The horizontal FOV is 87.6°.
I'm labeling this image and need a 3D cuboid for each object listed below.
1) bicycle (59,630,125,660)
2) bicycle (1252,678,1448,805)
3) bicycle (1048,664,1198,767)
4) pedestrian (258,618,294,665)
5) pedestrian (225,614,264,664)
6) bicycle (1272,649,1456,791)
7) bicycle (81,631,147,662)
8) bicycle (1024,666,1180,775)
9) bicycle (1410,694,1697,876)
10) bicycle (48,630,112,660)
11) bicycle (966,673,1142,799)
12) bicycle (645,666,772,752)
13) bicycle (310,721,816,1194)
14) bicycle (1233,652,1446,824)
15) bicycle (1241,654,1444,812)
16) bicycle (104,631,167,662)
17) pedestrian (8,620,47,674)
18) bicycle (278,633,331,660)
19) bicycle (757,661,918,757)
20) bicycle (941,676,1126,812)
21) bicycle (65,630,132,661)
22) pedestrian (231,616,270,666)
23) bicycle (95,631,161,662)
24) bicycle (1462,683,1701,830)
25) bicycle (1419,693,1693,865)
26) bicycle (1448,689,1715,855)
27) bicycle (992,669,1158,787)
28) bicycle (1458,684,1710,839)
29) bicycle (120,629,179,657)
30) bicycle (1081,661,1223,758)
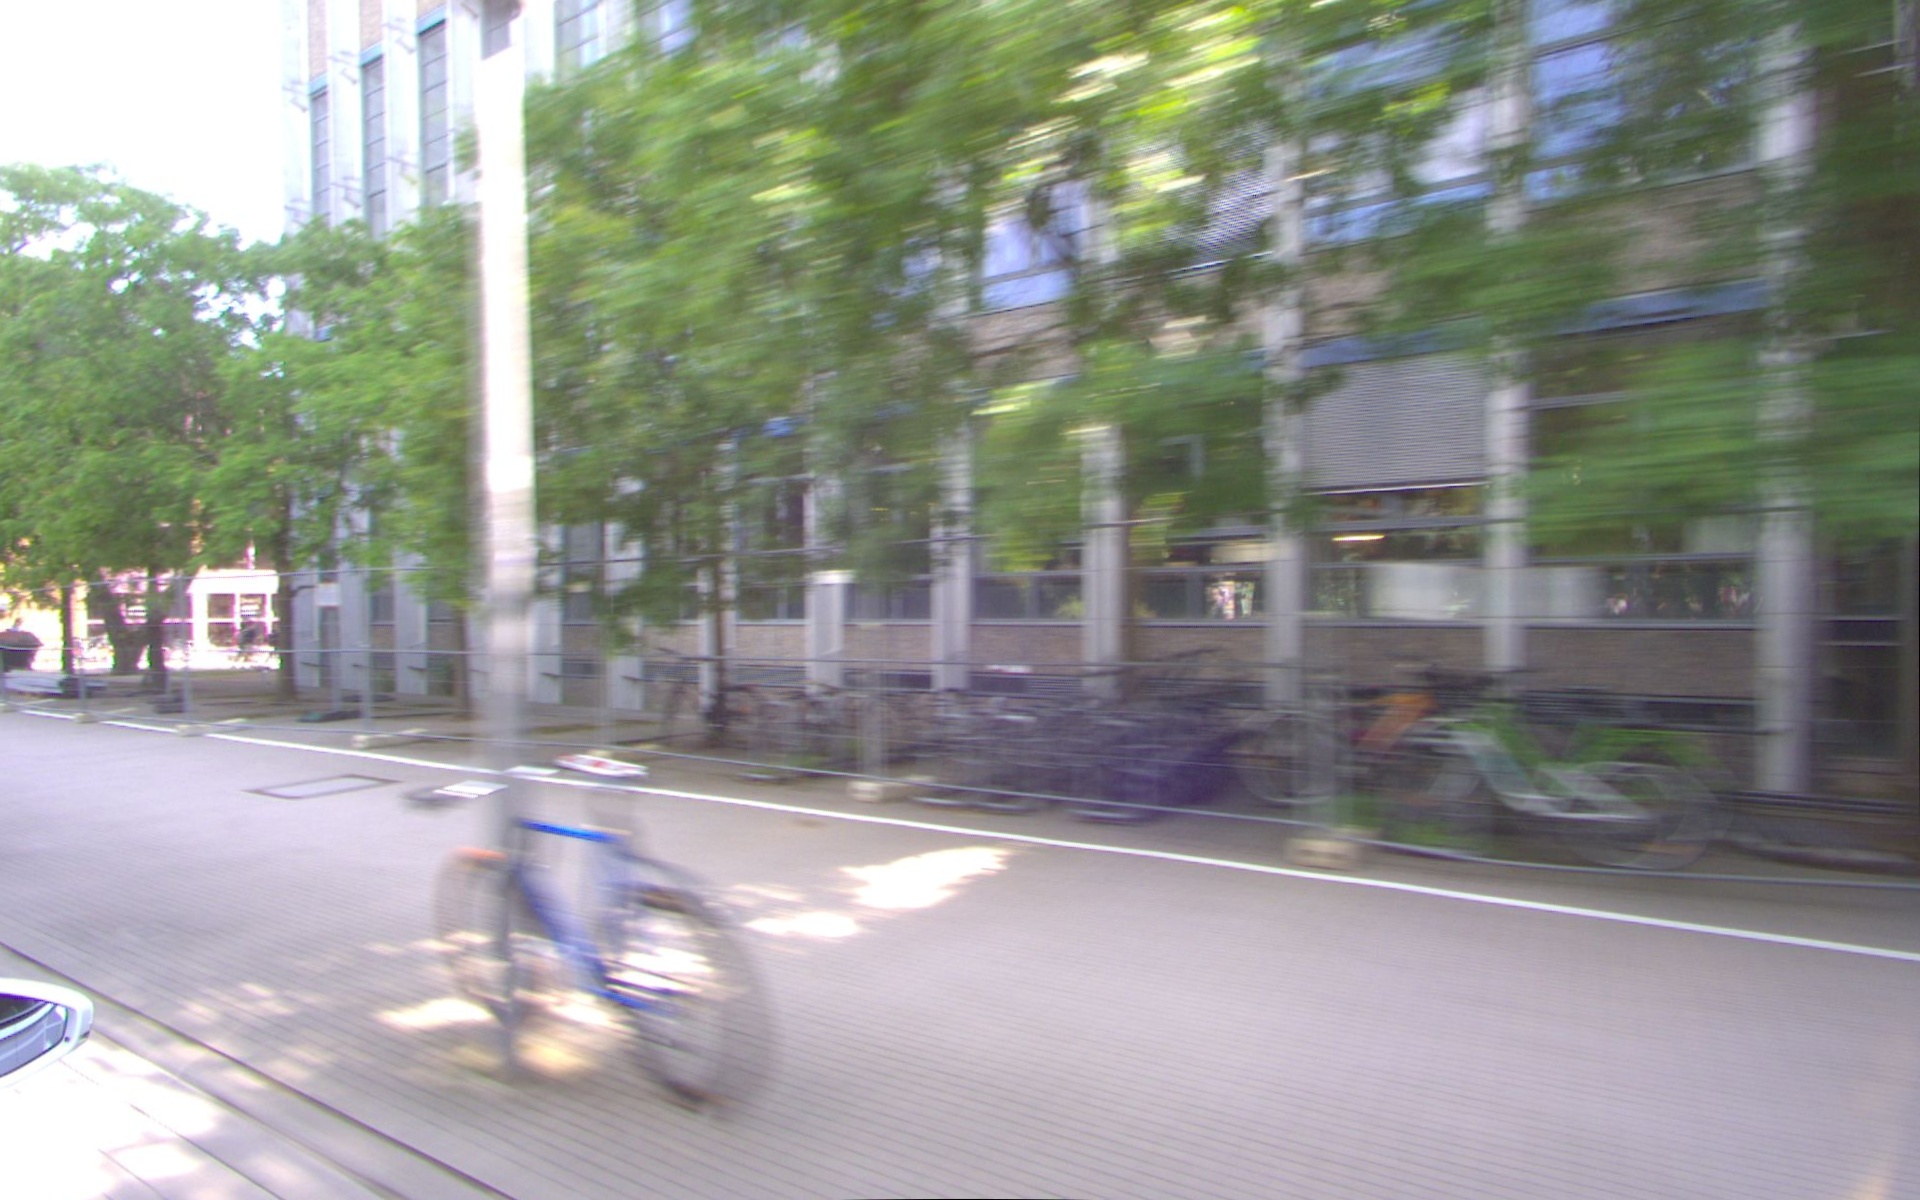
[{"bbox_3d":[-32.901,1.694,37.967,0.516,1.124,1.808,-1,-2,29],"label":"bicycle"},{"bbox_3d":[3.083,1.097,7.967,1.426,0.899,0.290,0,0,29],"label":"bicycle"},{"bbox_3d":[1.566,1.097,9.724,1.426,0.917,0.290,0,0,29],"label":"bicycle"},{"bbox_3d":[-26.000,1.578,38.080,0.674,1.750,0.901,-3,-2,28],"label":"pedestrian"},{"bbox_3d":[-25.568,1.379,35.785,0.674,1.750,0.901,-3,-2,28],"label":"pedestrian"},{"bbox_3d":[3.418,0.988,8.515,1.426,1.113,0.290,0,0,29],"label":"bicycle"},{"bbox_3d":[-31.324,1.735,37.096,0.516,1.124,1.807,-1,-2,31],"label":"bicycle"},{"bbox_3d":[1.299,1.090,9.295,1.426,0.917,0.290,0,0,29],"label":"bicycle"},{"bbox_3d":[3.450,1.047,5.914,1.426,0.917,0.290,0,0,29],"label":"bicycle"},{"bbox_3d":[-34.346,1.753,39.097,0.516,1.124,1.807,-1,-2,31],"label":"bicycle"},{"bbox_3d":[0.744,1.077,8.142,1.426,0.917,0.290,0,0,29],"label":"bicycle"},{"bbox_3d":[-2.934,1.250,11.648,1.592,0.917,0.290,0,0,24],"label":"bicycle"},{"bbox_3d":[-1.351,0.989,3.244,1.832,1.053,0.536,-1,0,32],"label":"bicycle"},{"bbox_3d":[2.745,0.966,7.306,1.426,1.143,0.290,0,0,29],"label":"bicycle"},{"bbox_3d":[2.907,0.980,7.666,1.426,1.108,0.290,0,0,29],"label":"bicycle"},{"bbox_3d":[-29.801,1.679,36.214,0.468,1.124,1.690,-1,-2,35],"label":"bicycle"},{"bbox_3d":[-30.958,1.548,33.247,0.678,1.750,0.897,-3,-2,43],"label":"pedestrian"},{"bbox_3d":[-29.625,2.095,45.276,0.467,1.184,1.994,0,-3,31],"label":"bicycle"},{"bbox_3d":[-1.302,1.118,10.496,1.775,0.917,0.290,0,0,24],"label":"bicycle"},{"bbox_3d":[0.541,1.066,7.637,1.426,0.917,0.290,0,0,29],"label":"bicycle"},{"bbox_3d":[-32.138,1.707,37.386,0.517,1.124,1.804,-1,-2,35],"label":"bicycle"},{"bbox_3d":[-25.046,1.438,35.355,0.674,1.750,0.901,-3,-2,28],"label":"pedestrian"},{"bbox_3d":[-30.664,1.708,36.921,0.517,1.124,1.804,-1,-2,36],"label":"bicycle"},{"bbox_3d":[4.393,1.084,7.156,1.426,0.917,0.290,0,0,29],"label":"bicycle"},{"bbox_3d":[3.634,1.066,6.196,1.426,0.917,0.290,0,0,29],"label":"bicycle"},{"bbox_3d":[3.931,1.066,6.421,1.426,0.917,0.290,0,0,29],"label":"bicycle"},{"bbox_3d":[0.982,1.086,8.699,1.426,0.917,0.290,0,0,29],"label":"bicycle"},{"bbox_3d":[4.186,1.060,6.804,1.426,0.917,0.290,0,0,29],"label":"bicycle"},{"bbox_3d":[-32.834,1.747,40.603,0.466,1.124,1.806,0,-2,26],"label":"bicycle"},{"bbox_3d":[1.967,1.105,10.346,1.426,0.917,0.290,0,0,29],"label":"bicycle"}]
